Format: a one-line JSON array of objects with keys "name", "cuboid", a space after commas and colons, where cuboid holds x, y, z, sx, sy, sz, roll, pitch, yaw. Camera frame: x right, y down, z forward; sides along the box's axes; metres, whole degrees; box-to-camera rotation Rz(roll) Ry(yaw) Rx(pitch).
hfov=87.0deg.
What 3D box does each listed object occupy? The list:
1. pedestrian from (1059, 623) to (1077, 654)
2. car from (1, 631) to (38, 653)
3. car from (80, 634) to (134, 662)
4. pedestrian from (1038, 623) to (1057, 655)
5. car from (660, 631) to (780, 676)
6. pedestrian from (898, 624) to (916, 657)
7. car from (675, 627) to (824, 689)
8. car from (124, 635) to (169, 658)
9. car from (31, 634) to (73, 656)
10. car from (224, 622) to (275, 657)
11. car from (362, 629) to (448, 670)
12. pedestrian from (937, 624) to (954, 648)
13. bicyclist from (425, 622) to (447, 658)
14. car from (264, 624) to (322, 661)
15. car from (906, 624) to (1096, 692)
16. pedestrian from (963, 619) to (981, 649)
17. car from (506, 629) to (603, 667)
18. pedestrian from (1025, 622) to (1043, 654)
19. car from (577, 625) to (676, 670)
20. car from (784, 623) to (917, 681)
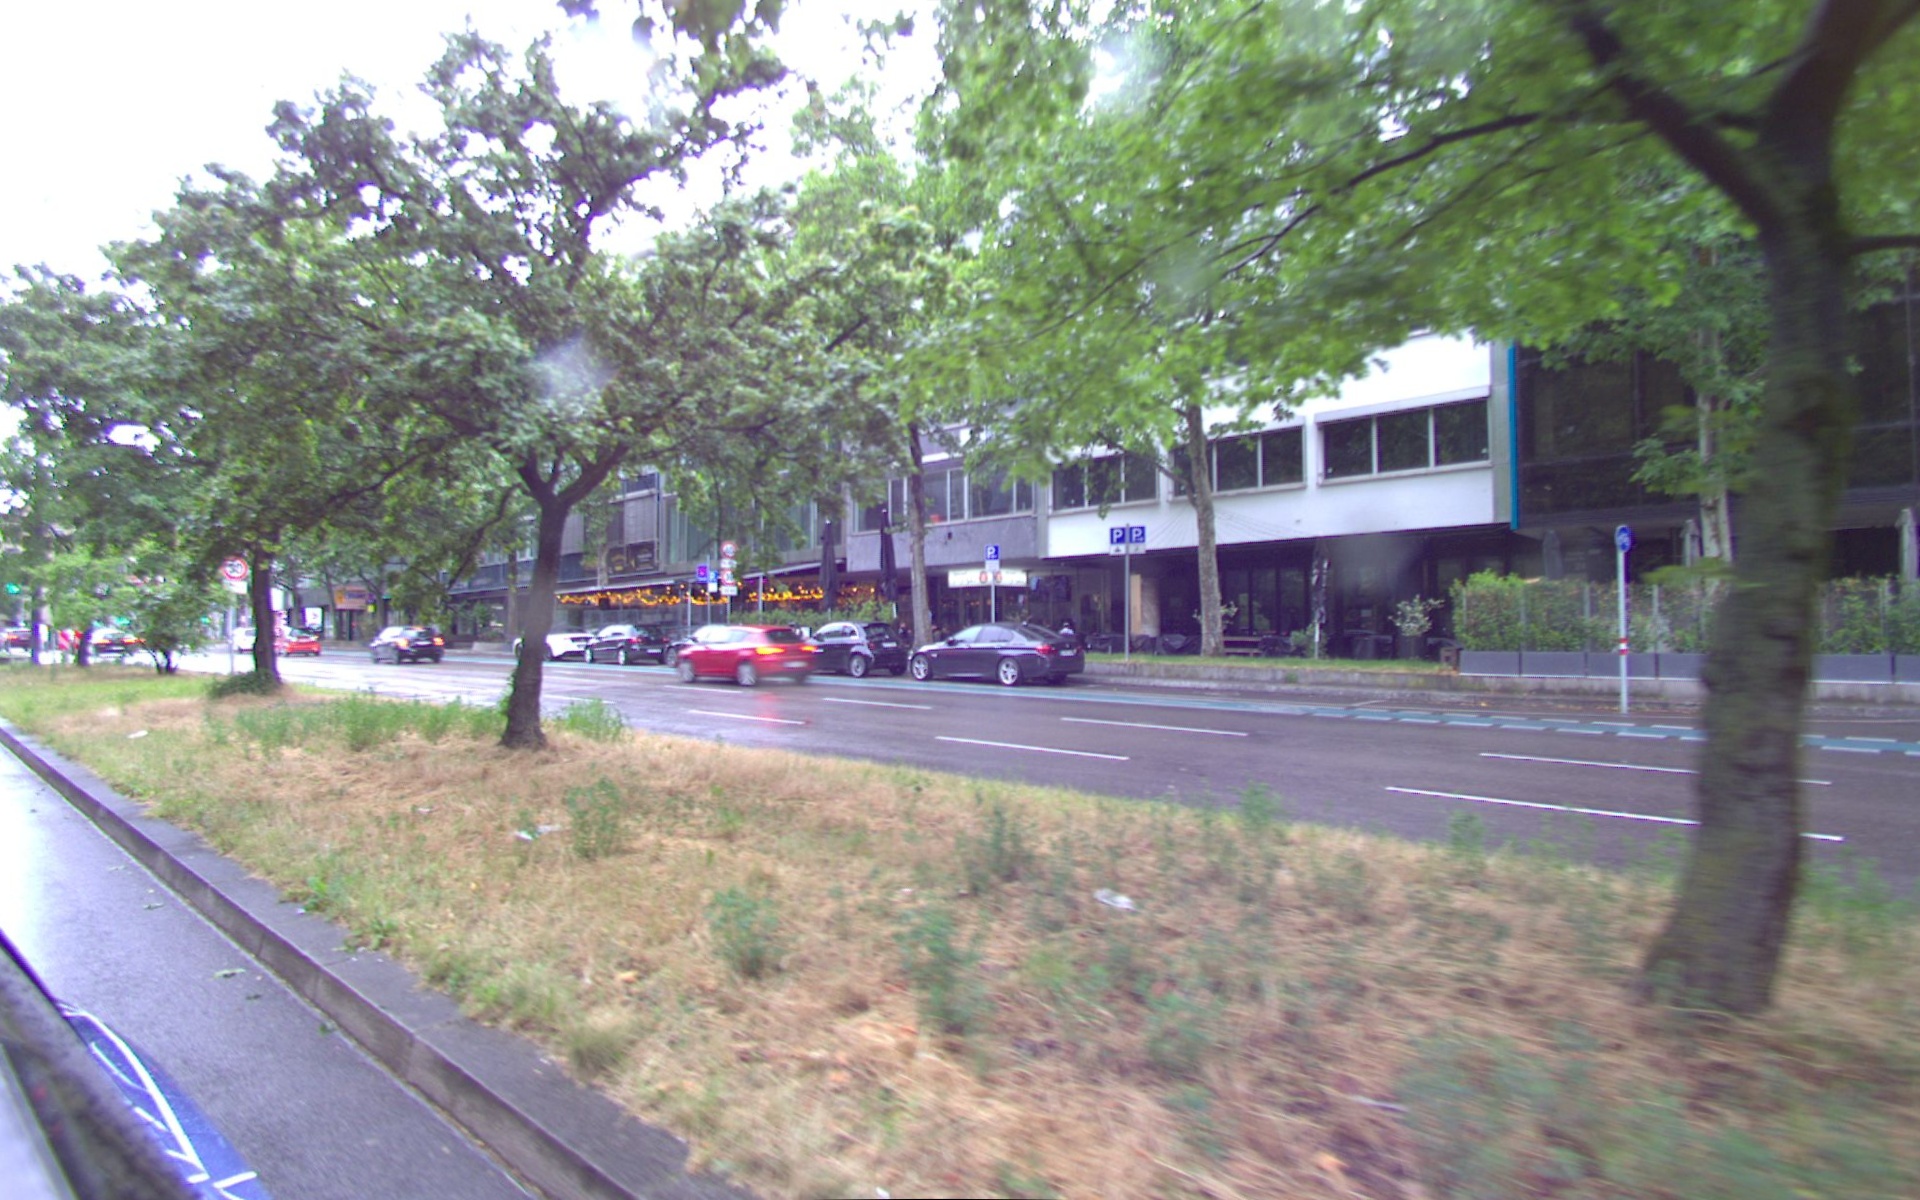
[{"name": "pedestrian", "cuboid": [3.476, 1.239, 32.540, 0.451, 0.970, 0.454, -1, 0, 26]}, {"name": "car", "cuboid": [-74.023, 3.268, 79.605, 3.525, 1.643, 1.657, -1, 0, 39]}, {"name": "car", "cuboid": [-46.967, 2.637, 55.714, 3.525, 1.400, 1.657, -1, 0, 39]}, {"name": "pedestrian", "cuboid": [2.822, 1.242, 32.664, 0.488, 1.008, 0.481, -1, 0, 26]}, {"name": "car", "cuboid": [-7.686, 1.650, 32.152, 4.319, 1.249, 1.625, -1, 0, 44]}, {"name": "pedestrian", "cuboid": [-1.933, 1.475, 36.964, 0.446, 1.195, 0.460, -1, 0, 45]}, {"name": "car", "cuboid": [-5.224, 1.370, 24.928, 3.737, 1.335, 1.742, -1, 0, 42]}, {"name": "car", "cuboid": [-54.379, 3.101, 67.660, 3.525, 1.400, 1.657, -1, 0, 39]}, {"name": "car", "cuboid": [-63.857, 3.147, 71.164, 3.525, 1.400, 1.657, -1, 0, 39]}, {"name": "car", "cuboid": [-41.132, 2.252, 58.524, 3.860, 1.897, 1.729, -1, 0, 44]}, {"name": "car", "cuboid": [-21.890, 1.903, 39.843, 4.106, 1.427, 1.843, -1, 0, 44]}, {"name": "pedestrian", "cuboid": [-0.504, 1.273, 36.084, 0.433, 0.856, 0.435, -1, 0, 39]}, {"name": "bicyclist", "cuboid": [-24.011, 1.819, 46.401, 0.609, 1.582, 0.706, -1, 0, 41]}, {"name": "car", "cuboid": [-34.158, 2.133, 51.785, 3.860, 1.738, 1.729, -1, 0, 44]}, {"name": "car", "cuboid": [0.904, 1.314, 24.367, 1.849, 1.396, 4.539, -1, 0, -45]}, {"name": "pedestrian", "cuboid": [0.411, 1.176, 35.055, 0.423, 1.024, 0.459, -1, 0, 39]}, {"name": "car", "cuboid": [-16.109, 1.865, 40.126, 4.392, 1.336, 1.856, -1, 0, 43]}, {"name": "pedestrian", "cuboid": [2.425, 1.239, 33.108, 0.461, 1.000, 0.455, -1, 0, 26]}, {"name": "car", "cuboid": [-11.952, 1.664, 36.193, 3.788, 1.464, 1.727, -1, 0, 43]}, {"name": "car", "cuboid": [-3.056, 1.375, 27.963, 3.400, 1.433, 1.851, -1, 0, 42]}]
